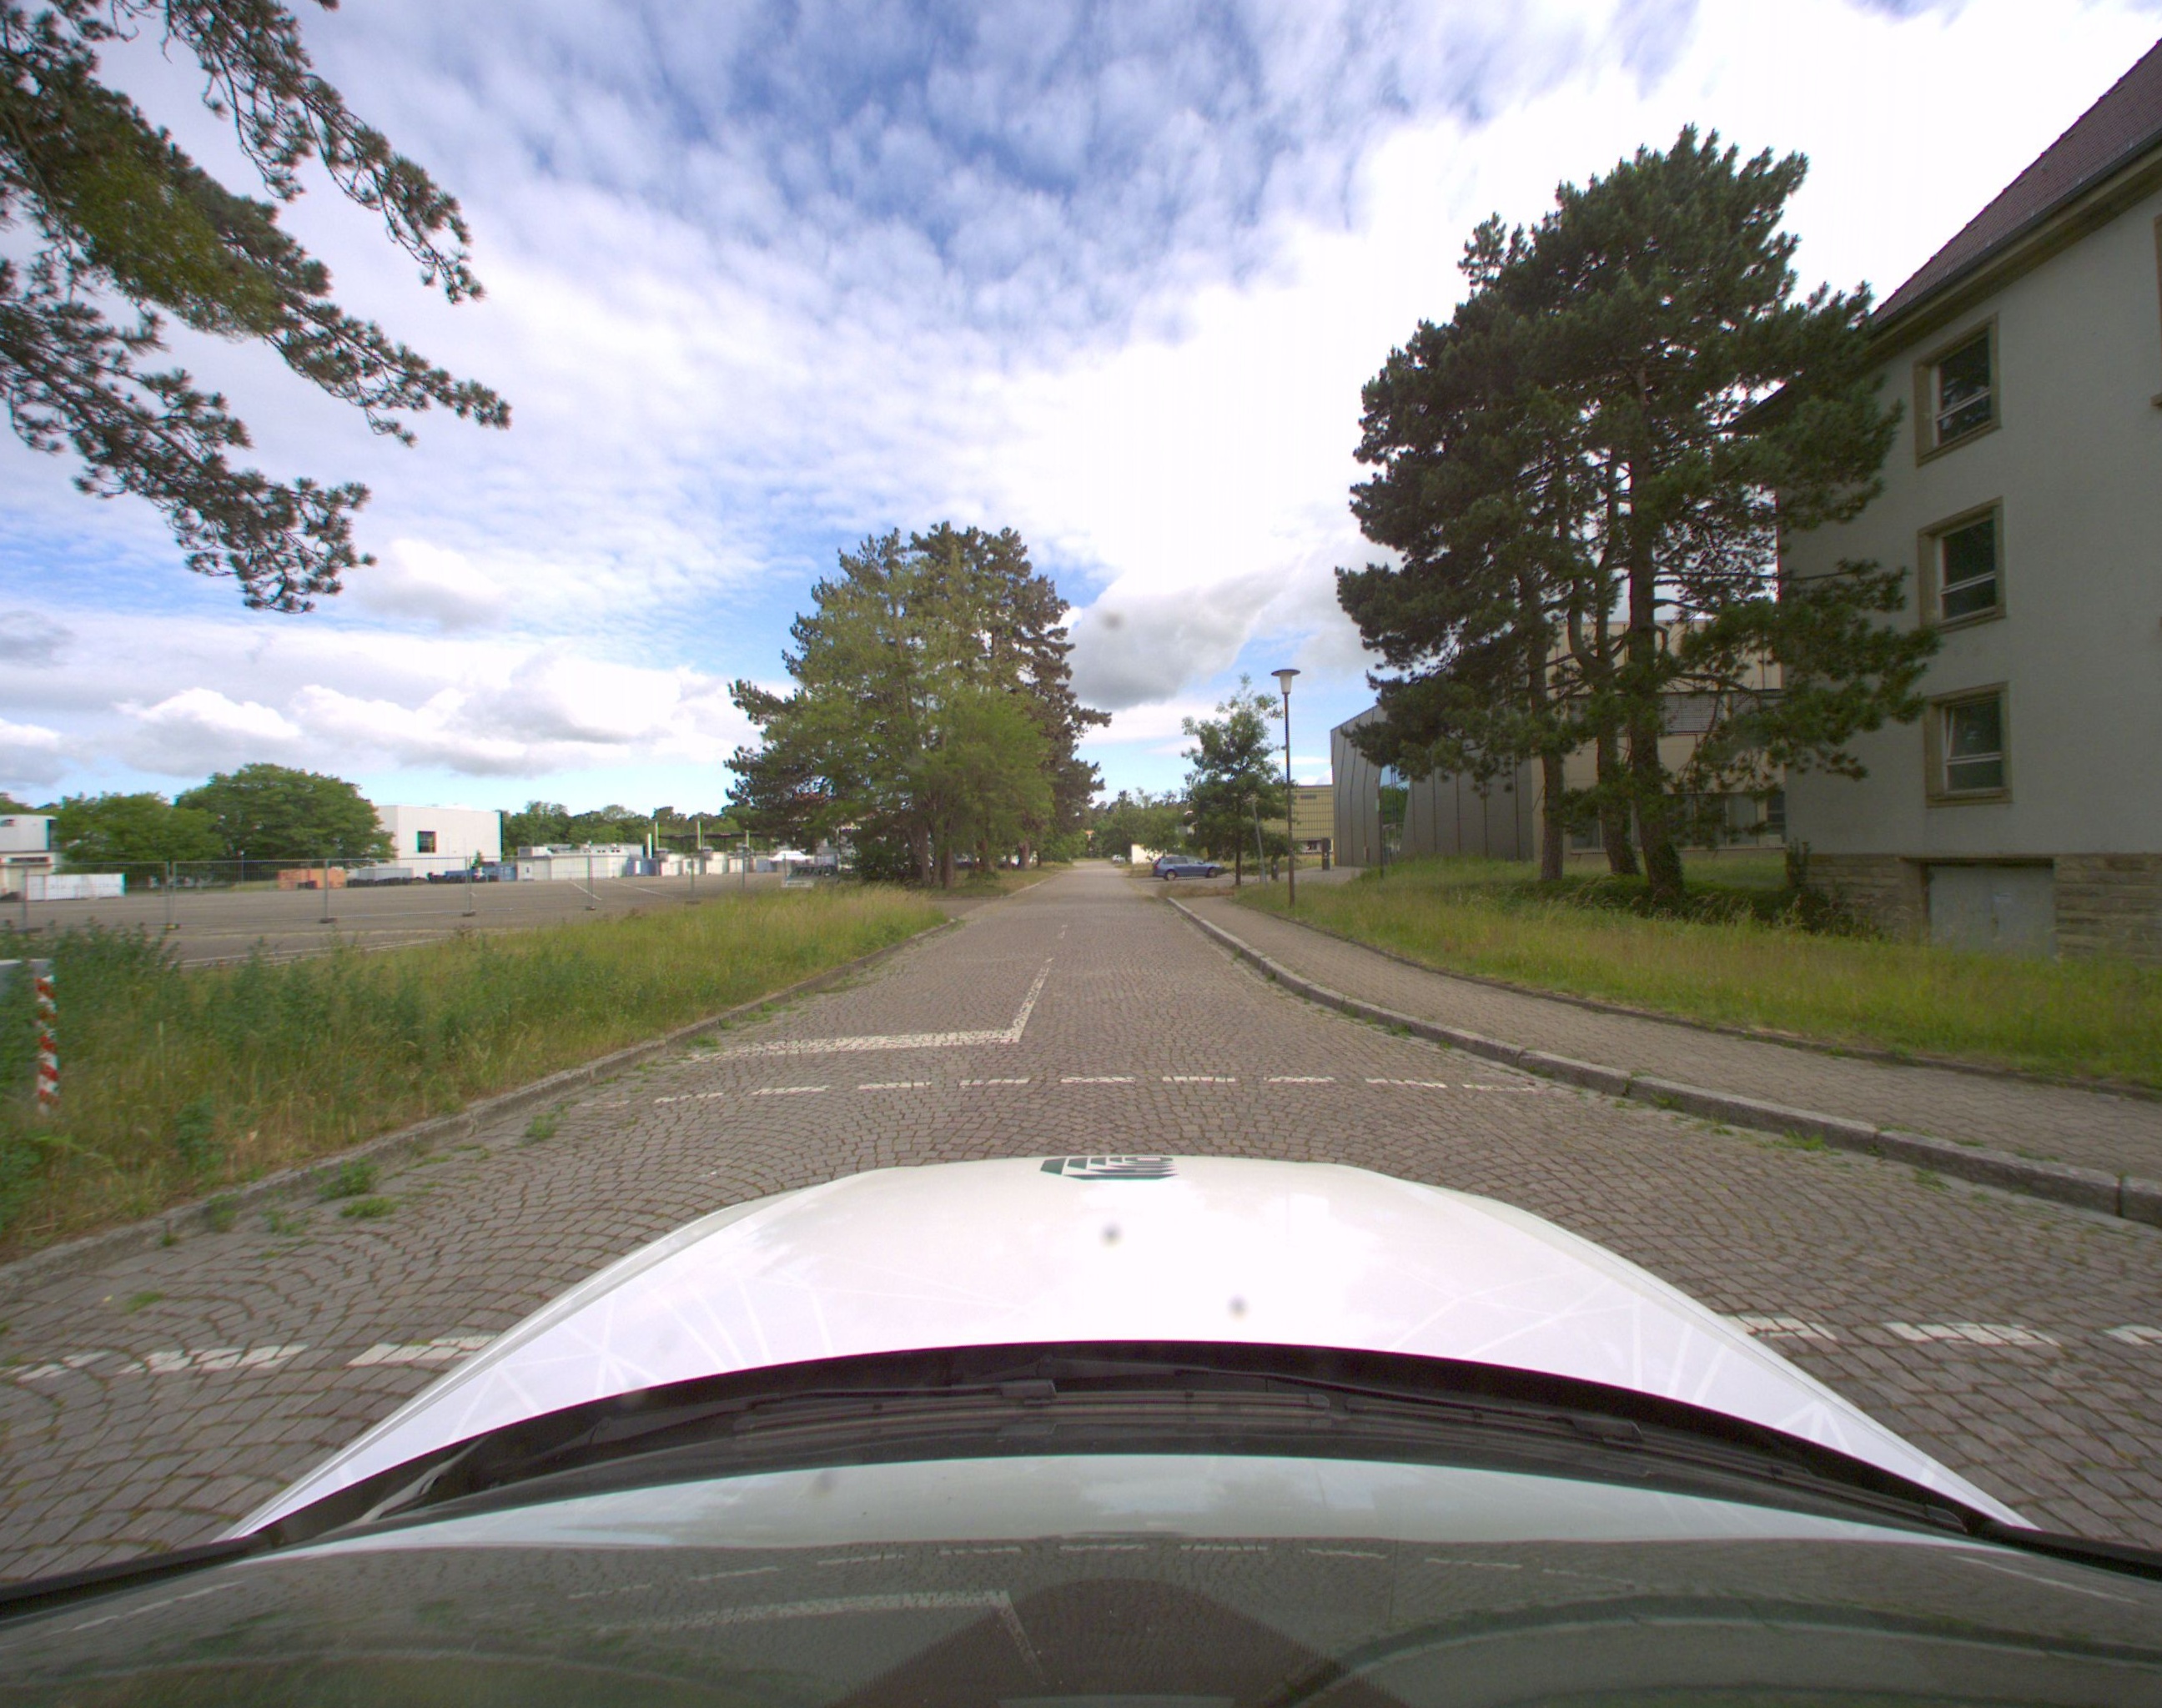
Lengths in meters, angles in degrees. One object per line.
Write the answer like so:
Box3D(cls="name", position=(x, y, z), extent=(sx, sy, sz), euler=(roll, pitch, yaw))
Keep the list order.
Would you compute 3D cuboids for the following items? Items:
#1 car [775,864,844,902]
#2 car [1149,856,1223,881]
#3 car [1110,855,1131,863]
Box3D(cls="car", position=(-12.048, 1.239, 36.412), extent=(1.607, 1.487, 4.001), euler=(-1, 0, 1))
Box3D(cls="car", position=(6.583, 0.885, 51.290), extent=(4.332, 1.422, 1.999), euler=(-2, 0, -1))
Box3D(cls="car", position=(8.177, 1.008, 168.377), extent=(3.980, 1.398, 1.997), euler=(-2, 0, -5))
